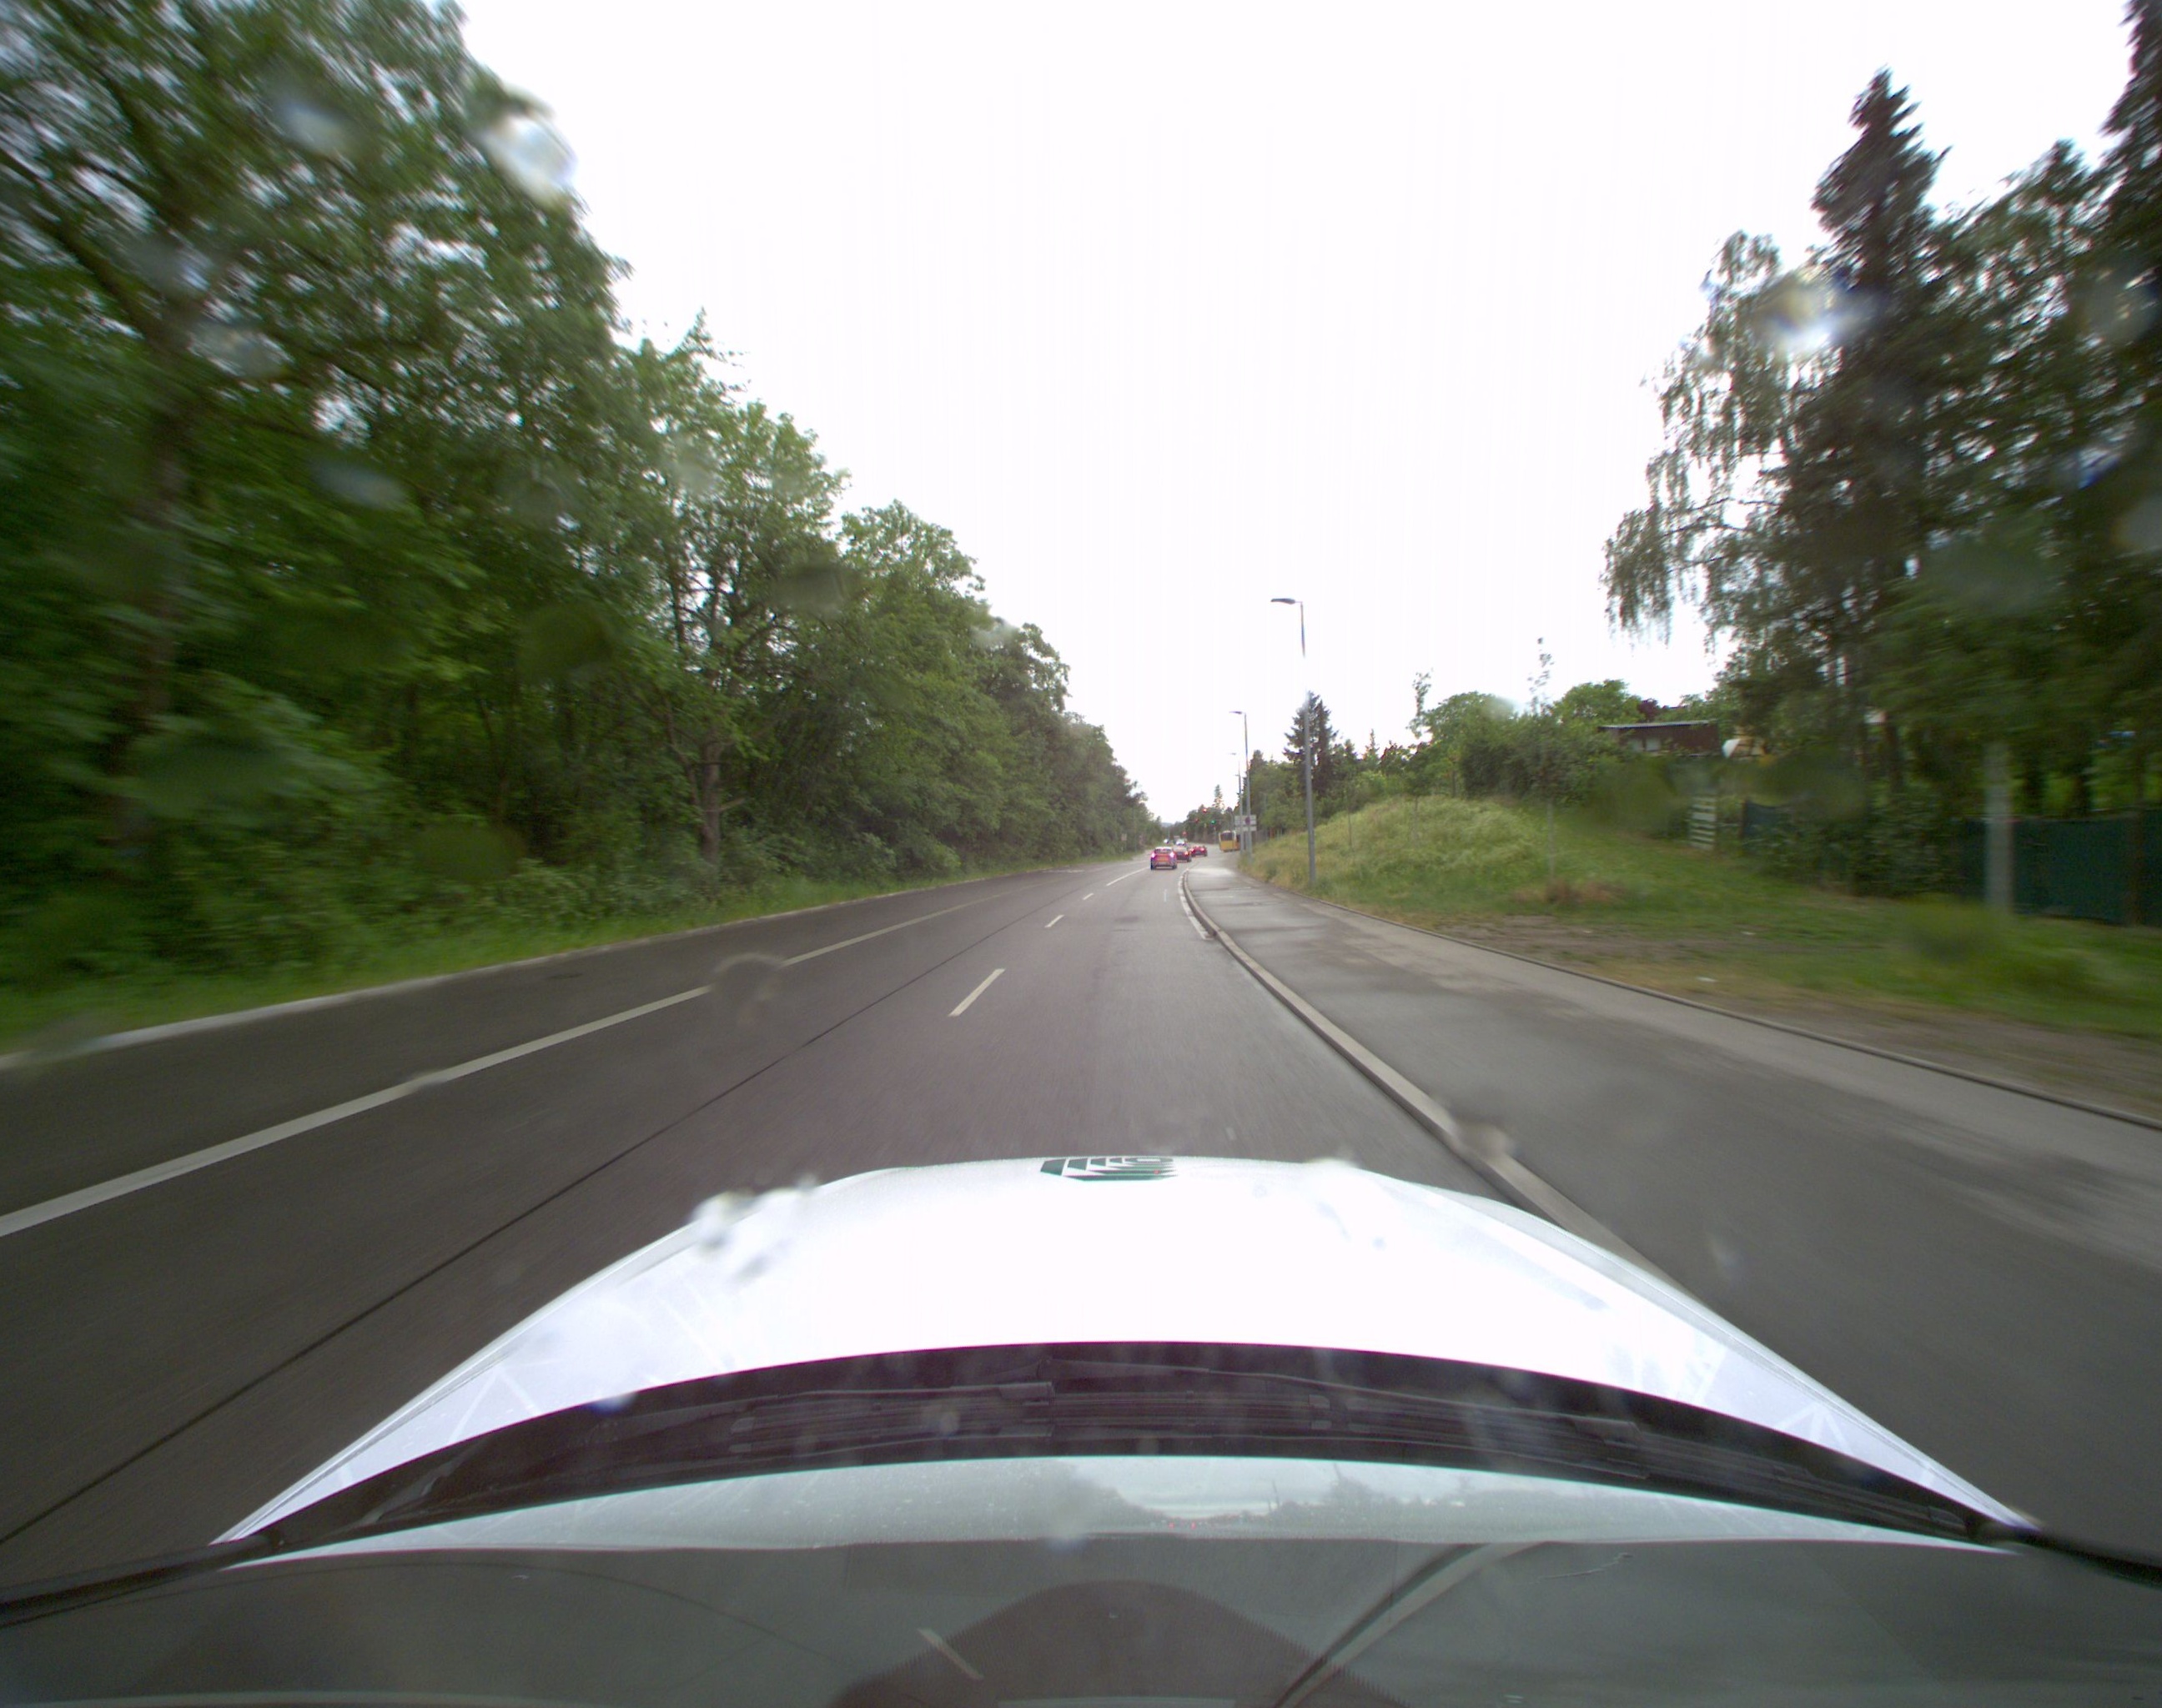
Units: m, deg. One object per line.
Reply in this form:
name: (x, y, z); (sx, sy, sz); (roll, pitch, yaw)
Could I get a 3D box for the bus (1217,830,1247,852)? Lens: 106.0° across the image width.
bus: (22.645, -1.962, 121.721); (2.793, 3.142, 9.226); (-1, 0, 20)

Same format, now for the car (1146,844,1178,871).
car: (5.809, 0.191, 57.965); (1.982, 1.689, 4.010); (-3, 1, 8)

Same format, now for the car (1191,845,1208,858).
car: (14.738, -0.349, 101.122); (1.982, 1.552, 4.009); (-1, 0, 8)

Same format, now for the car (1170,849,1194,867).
car: (9.644, 0.347, 77.525); (1.914, 1.486, 3.812); (-3, 1, 12)

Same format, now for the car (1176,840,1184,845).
car: (27.180, -3.129, 222.712); (1.984, 1.420, 4.005); (-1, 0, 4)
